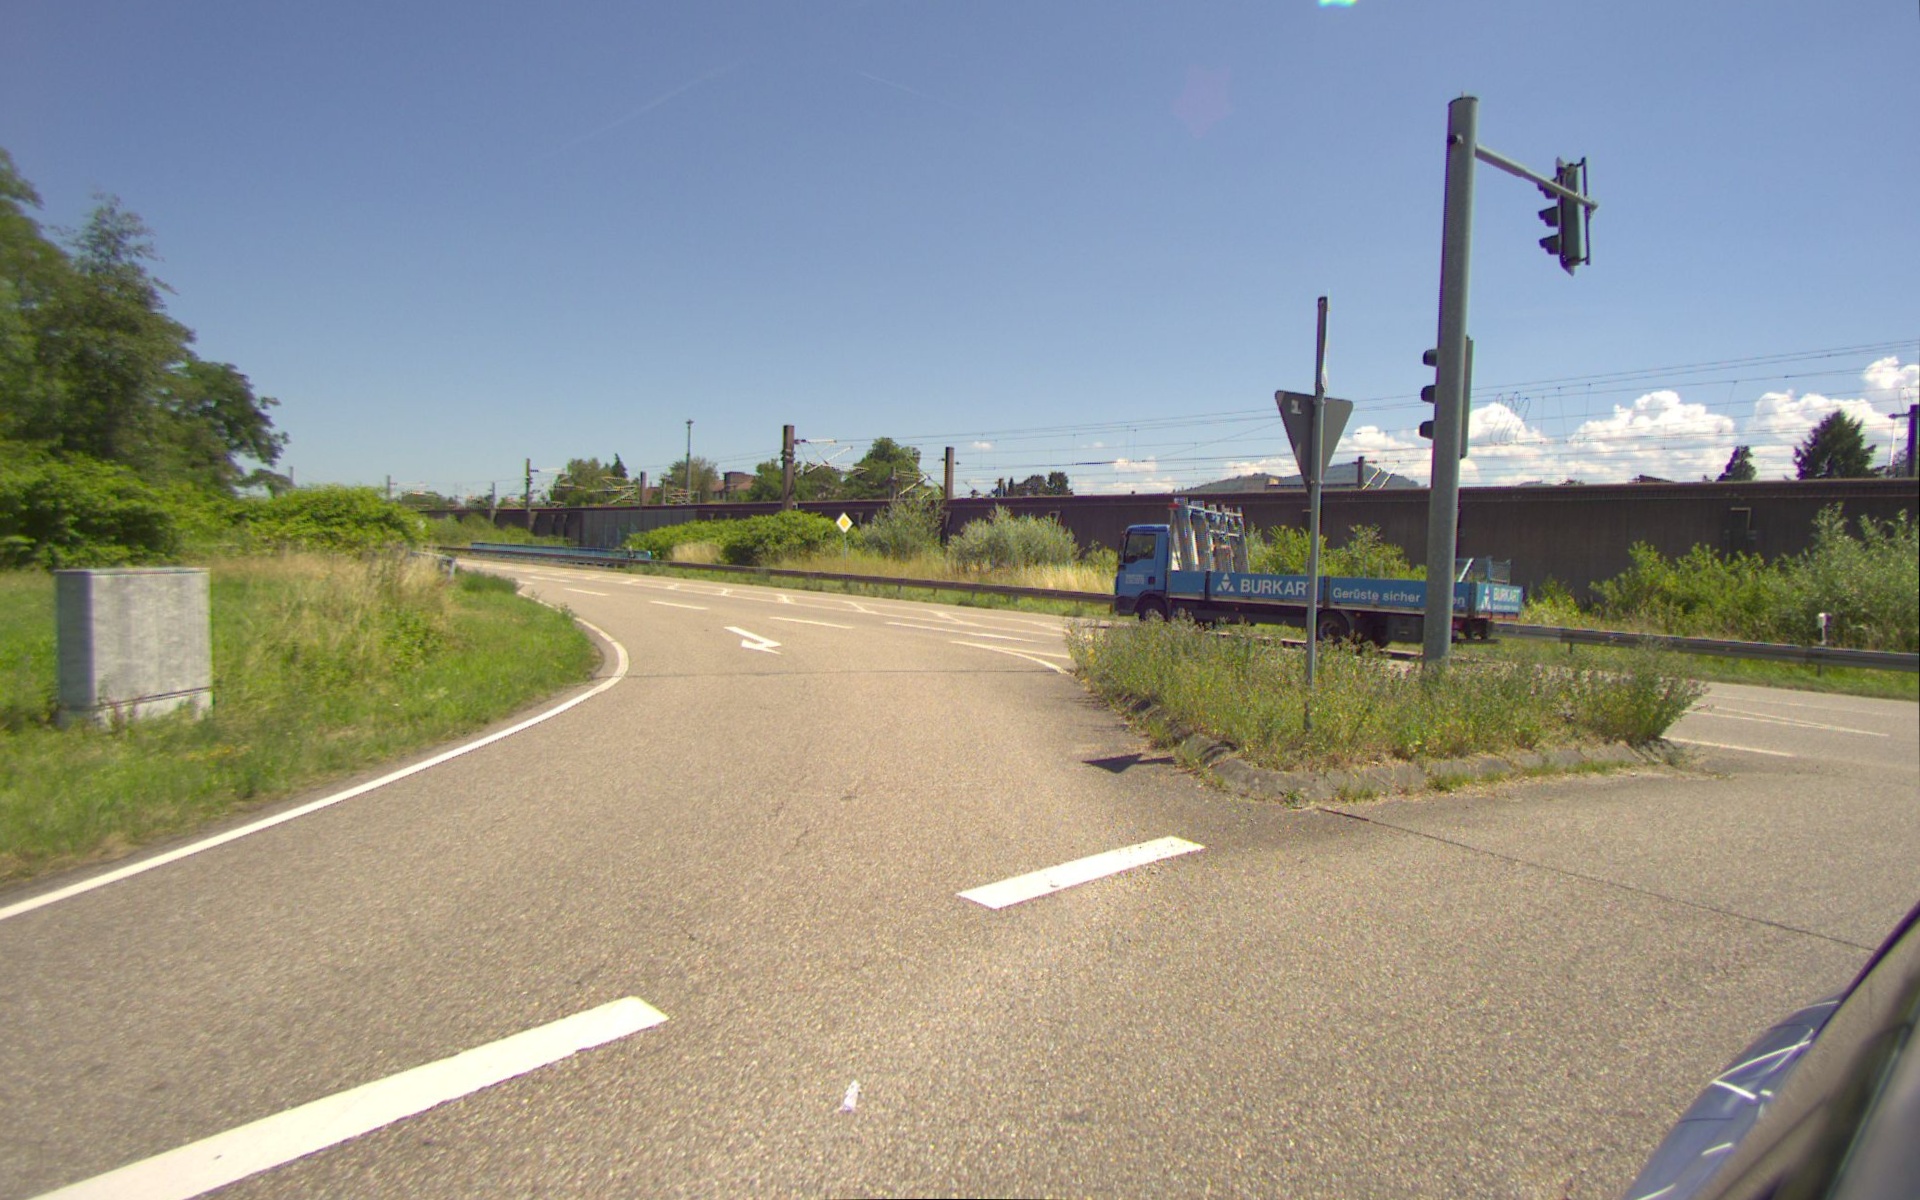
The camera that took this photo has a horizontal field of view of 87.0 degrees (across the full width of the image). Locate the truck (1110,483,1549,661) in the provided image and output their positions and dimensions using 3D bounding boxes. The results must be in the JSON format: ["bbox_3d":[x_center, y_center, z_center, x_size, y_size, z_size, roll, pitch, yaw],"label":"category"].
[{"bbox_3d":[7.658,-0.784,22.286,2.873,3.188,8.611,1,3,-43],"label":"truck"}]
